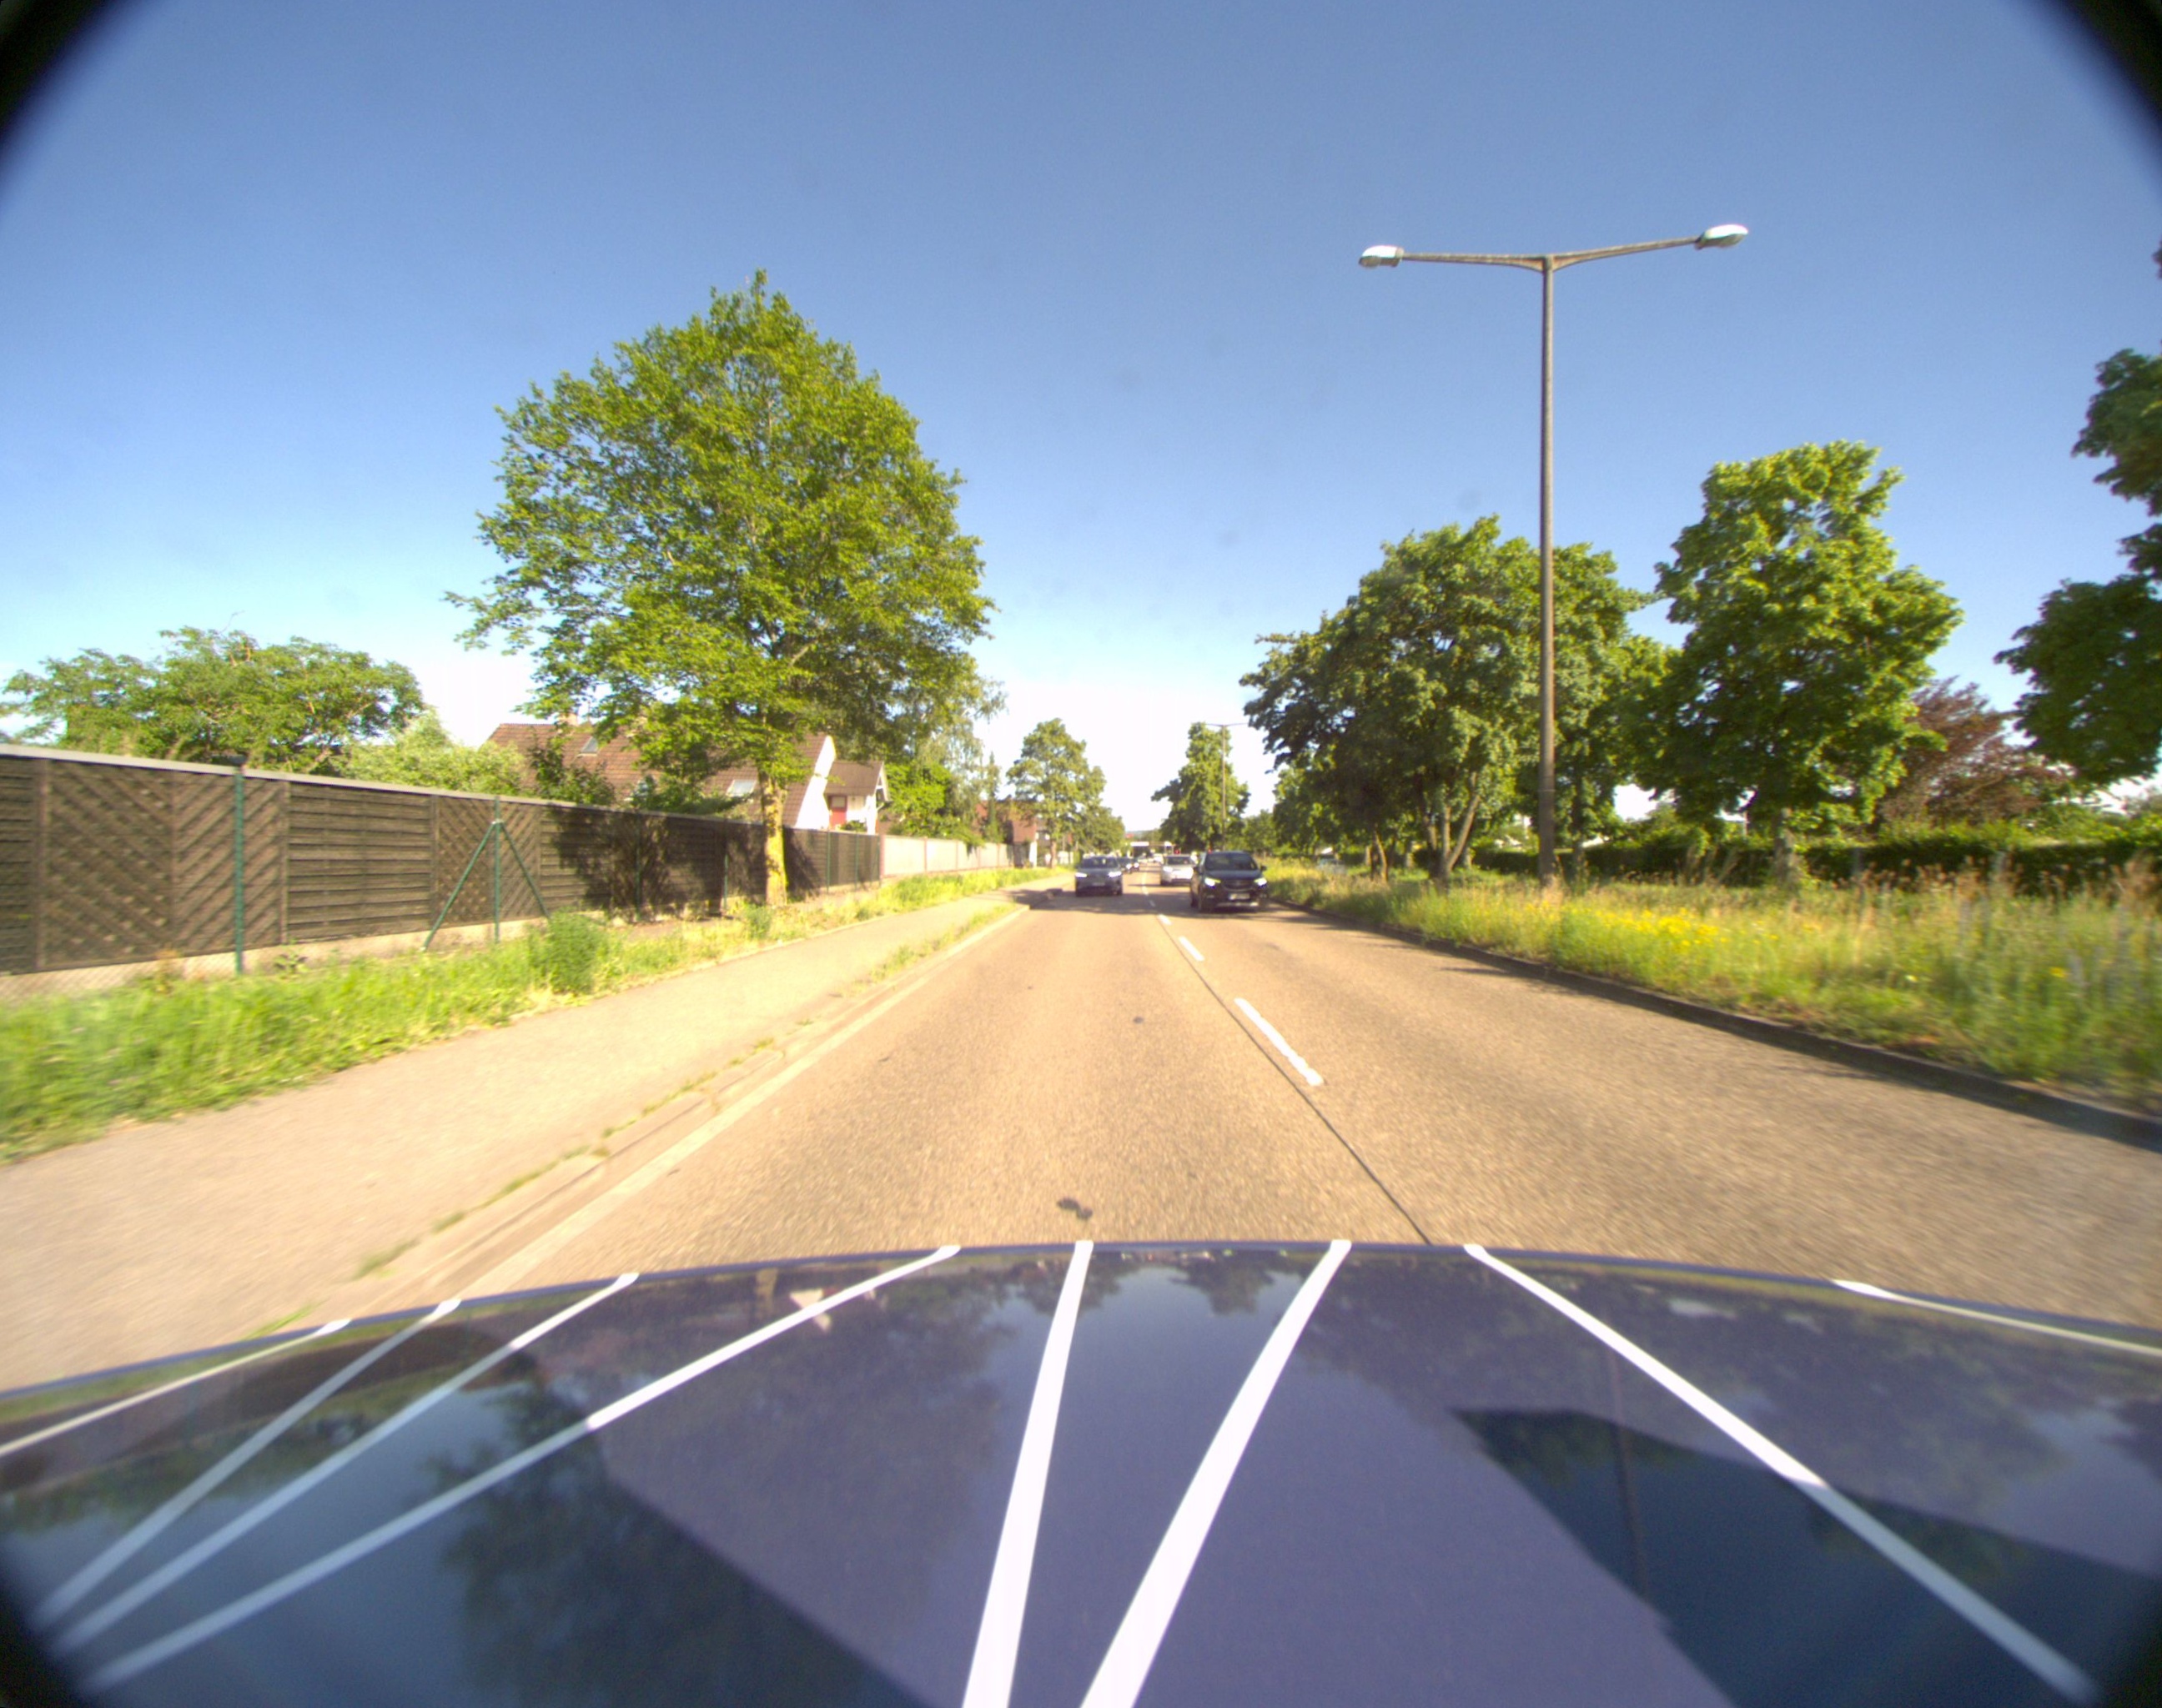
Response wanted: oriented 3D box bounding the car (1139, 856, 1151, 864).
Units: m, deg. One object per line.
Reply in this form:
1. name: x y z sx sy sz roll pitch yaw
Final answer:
1. car: 13.082 1.206 155.110 1.999 1.674 3.999 0 0 -1

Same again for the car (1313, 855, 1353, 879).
1. car: 18.855 0.963 56.935 1.942 1.647 4.001 -2 0 5

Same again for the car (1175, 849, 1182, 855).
1. car: 27.478 -0.506 214.479 1.631 1.793 3.573 -1 0 2

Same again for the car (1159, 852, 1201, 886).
1. car: 4.915 0.716 38.140 1.823 1.553 4.647 -1 0 4

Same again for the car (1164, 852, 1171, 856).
1. car: 28.165 -0.144 247.556 1.632 1.279 3.506 -1 0 -5

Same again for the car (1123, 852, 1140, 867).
1. car: 5.801 0.597 86.887 1.823 1.587 4.274 -1 1 6

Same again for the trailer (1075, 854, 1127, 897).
1. trailer: 0.873 0.828 30.945 1.897 1.585 4.001 -2 0 4

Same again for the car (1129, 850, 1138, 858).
1. car: 14.365 -0.022 209.249 1.999 2.069 3.999 -2 1 -1

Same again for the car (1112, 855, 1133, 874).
1. car: 3.729 0.901 68.008 1.823 1.553 4.273 0 1 4

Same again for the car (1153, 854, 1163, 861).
1. car: 19.016 0.830 187.188 1.999 1.674 3.999 0 0 -1

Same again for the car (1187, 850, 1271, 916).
1. car: 4.009 0.711 21.207 1.810 1.605 4.515 0 1 5
